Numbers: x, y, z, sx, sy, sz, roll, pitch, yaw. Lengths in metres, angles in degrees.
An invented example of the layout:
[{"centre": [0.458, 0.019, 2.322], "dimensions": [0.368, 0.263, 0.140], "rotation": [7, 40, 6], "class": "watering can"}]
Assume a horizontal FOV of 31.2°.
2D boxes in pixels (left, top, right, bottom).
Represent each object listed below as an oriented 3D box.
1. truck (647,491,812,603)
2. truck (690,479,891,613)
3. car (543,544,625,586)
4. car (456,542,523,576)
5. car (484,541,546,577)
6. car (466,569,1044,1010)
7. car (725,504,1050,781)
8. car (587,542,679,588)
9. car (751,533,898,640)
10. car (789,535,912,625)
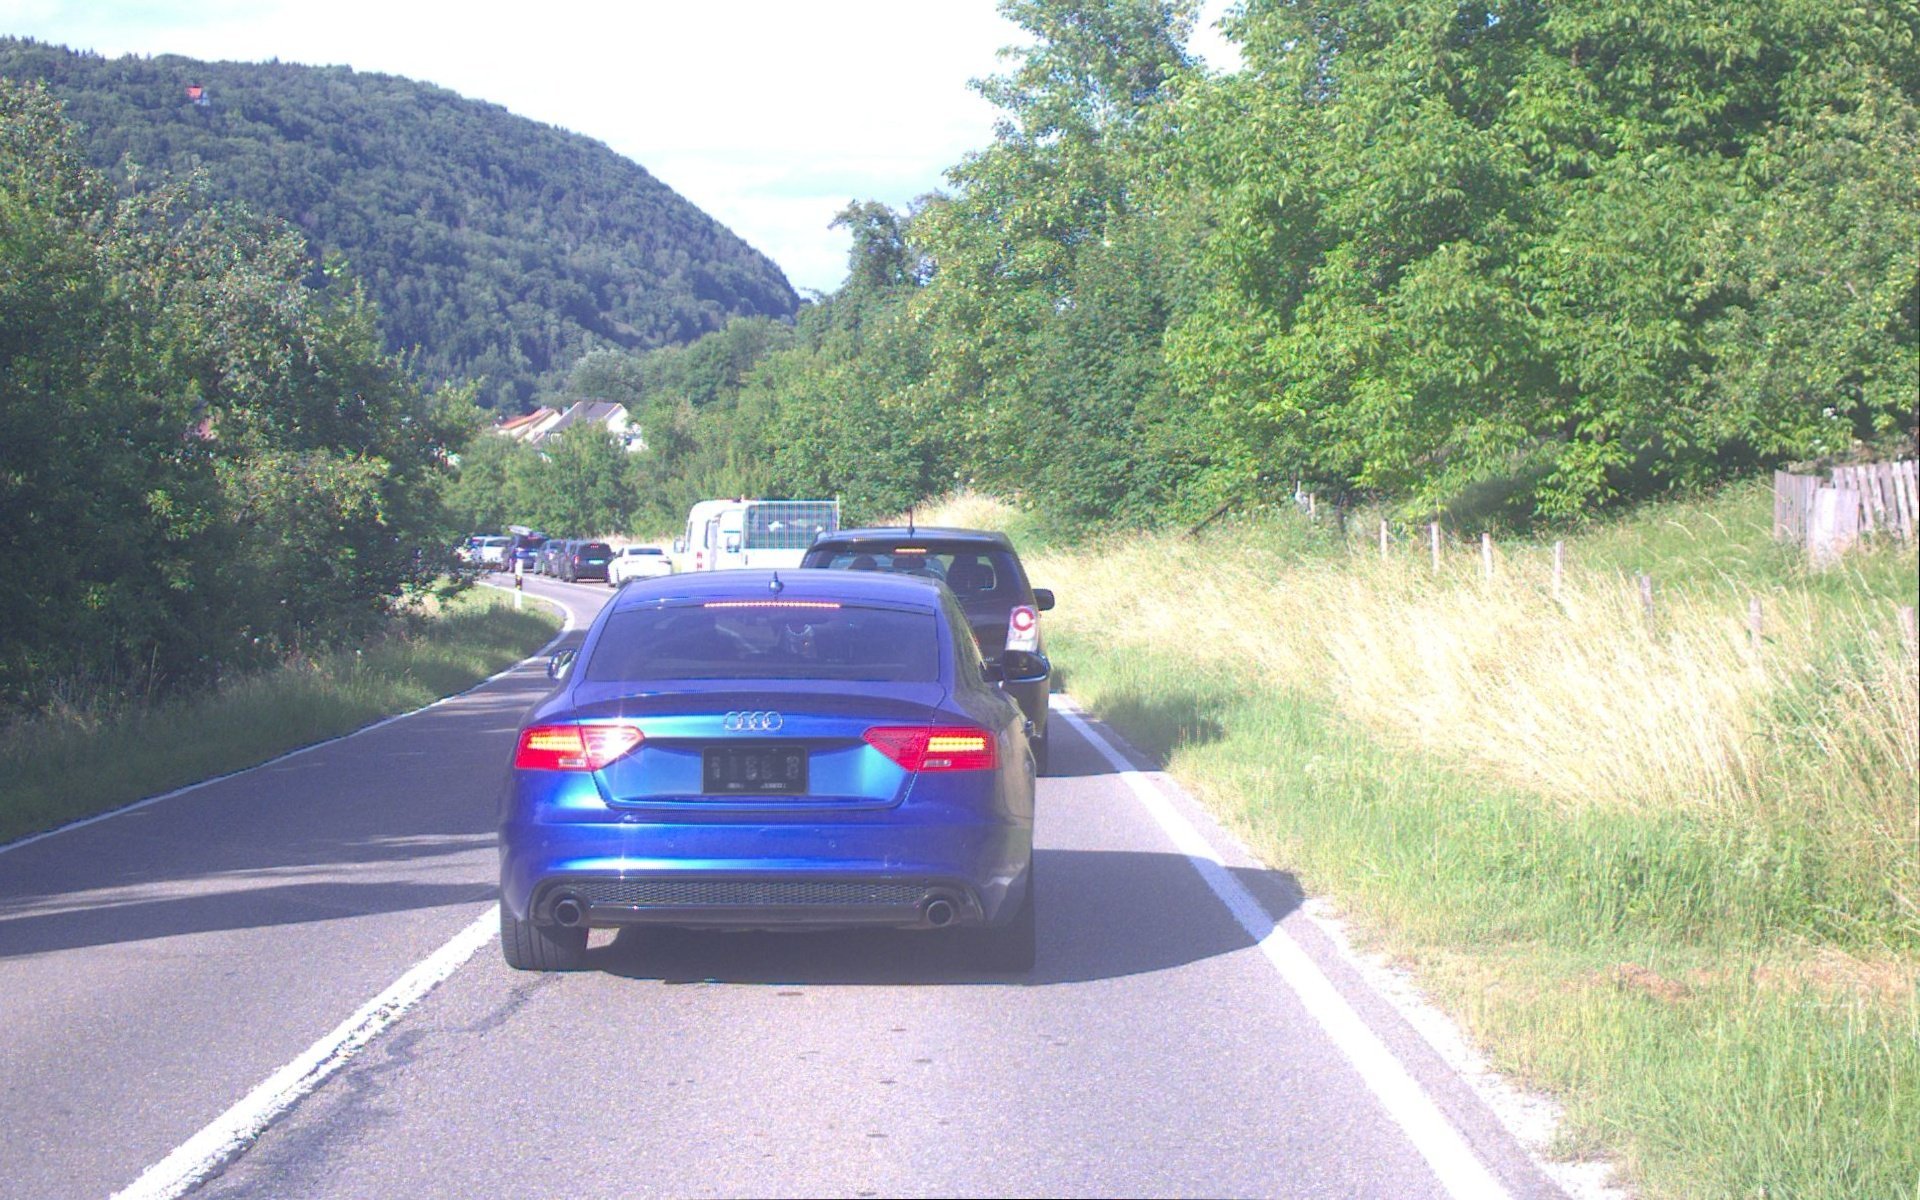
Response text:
[{"centre": [-6.037, -1.368, 88.250], "dimensions": [2.863, 2.656, 10.648], "rotation": [1, 1, -11], "class": "truck"}, {"centre": [-3.803, -1.173, 74.284], "dimensions": [2.863, 2.656, 10.396], "rotation": [1, 1, -11], "class": "truck"}, {"centre": [-13.525, -1.255, 123.553], "dimensions": [1.993, 1.477, 4.001], "rotation": [1, 0, -21], "class": "car"}, {"centre": [-21.154, -1.832, 154.421], "dimensions": [1.993, 1.477, 4.001], "rotation": [0, 0, -23], "class": "car"}, {"centre": [-18.873, -1.743, 145.643], "dimensions": [1.993, 1.477, 4.001], "rotation": [1, 0, -17], "class": "car"}, {"centre": [-0.620, 0.576, 12.745], "dimensions": [1.794, 1.355, 4.000], "rotation": [1, 0, 1], "class": "car"}, {"centre": [-0.463, 0.245, 23.299], "dimensions": [1.993, 1.696, 4.000], "rotation": [1, 0, 0], "class": "car"}, {"centre": [-10.723, -1.151, 112.574], "dimensions": [1.993, 1.477, 4.001], "rotation": [1, 0, -21], "class": "car"}, {"centre": [-1.934, -0.210, 50.182], "dimensions": [1.993, 1.477, 4.000], "rotation": [1, 0, 0], "class": "car"}, {"centre": [-1.849, -0.345, 59.280], "dimensions": [1.993, 1.477, 4.000], "rotation": [1, 0, 0], "class": "car"}]
